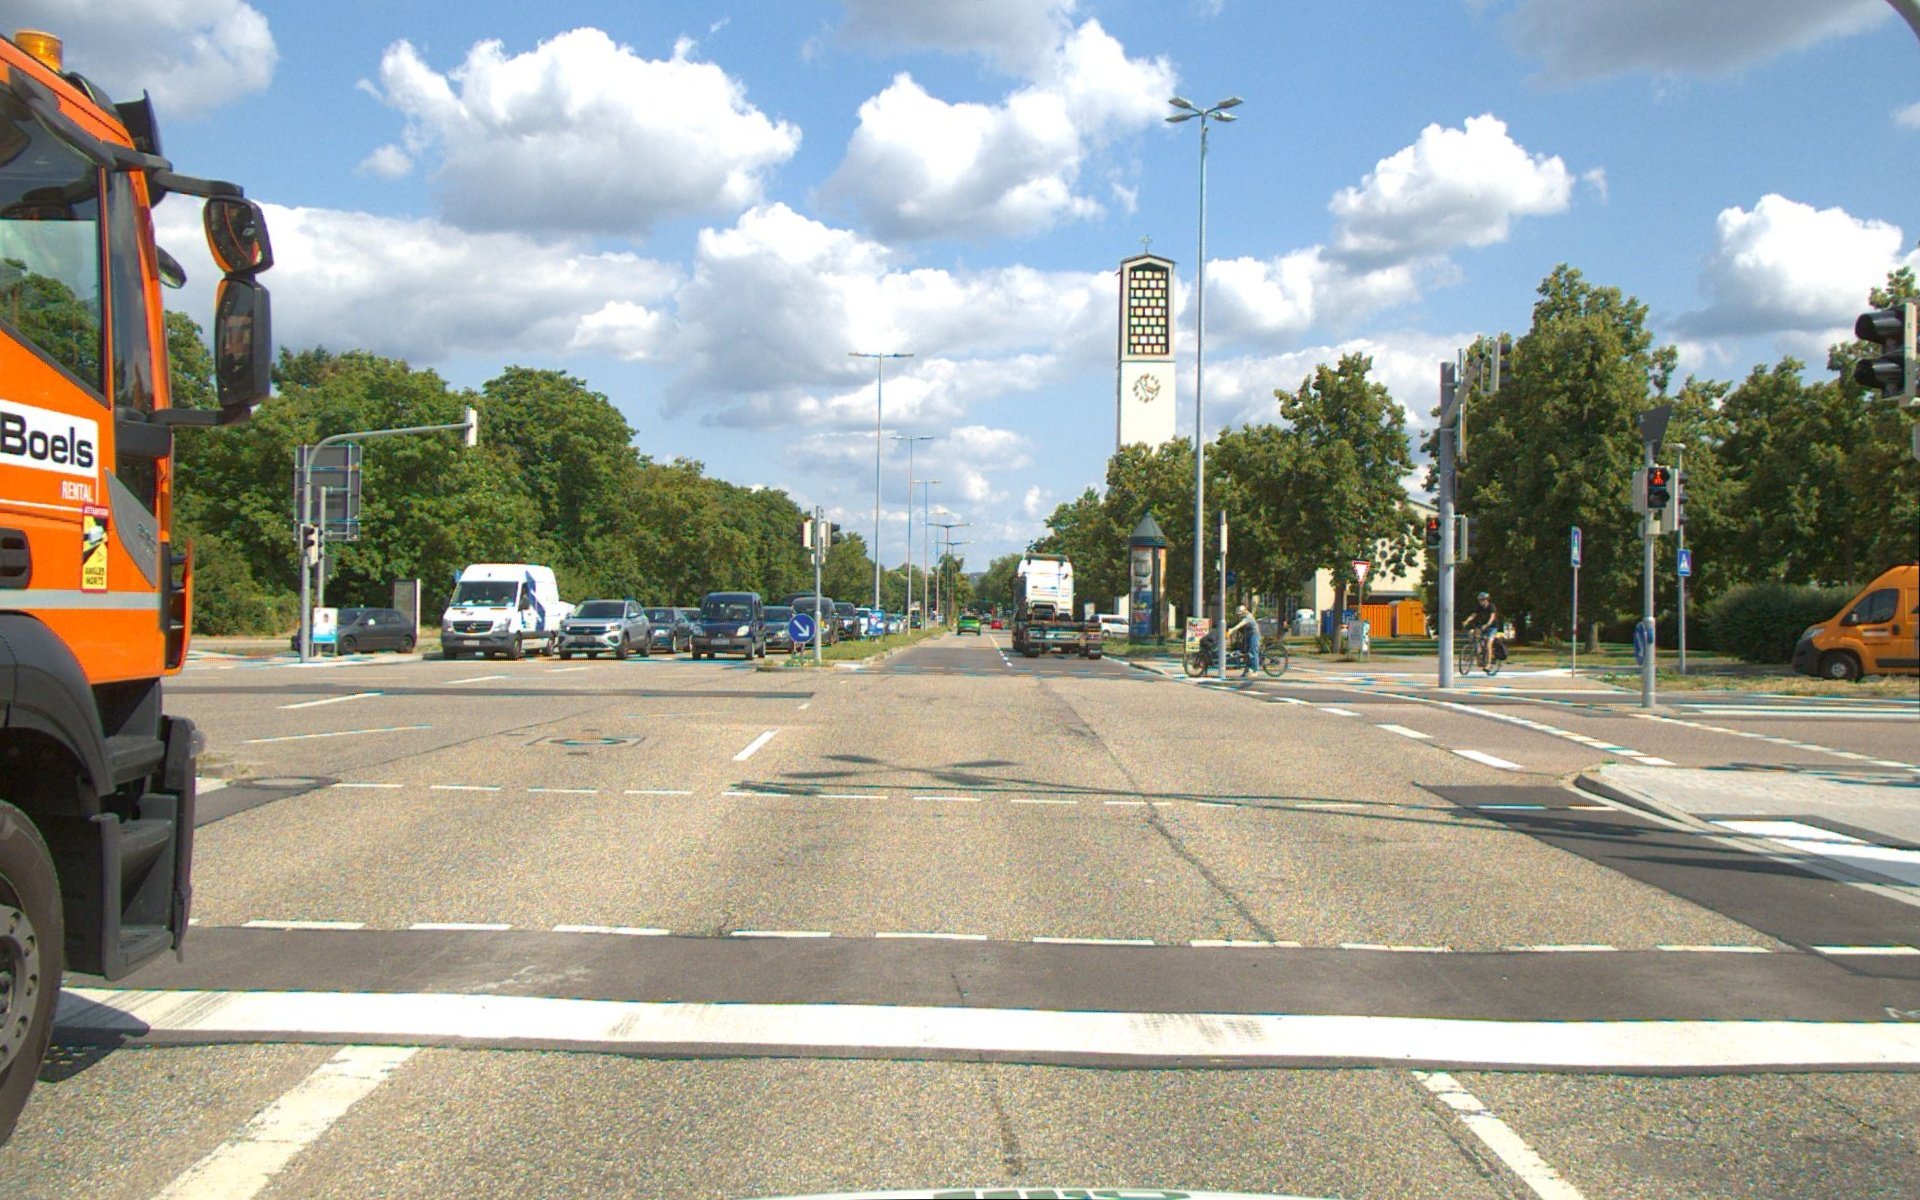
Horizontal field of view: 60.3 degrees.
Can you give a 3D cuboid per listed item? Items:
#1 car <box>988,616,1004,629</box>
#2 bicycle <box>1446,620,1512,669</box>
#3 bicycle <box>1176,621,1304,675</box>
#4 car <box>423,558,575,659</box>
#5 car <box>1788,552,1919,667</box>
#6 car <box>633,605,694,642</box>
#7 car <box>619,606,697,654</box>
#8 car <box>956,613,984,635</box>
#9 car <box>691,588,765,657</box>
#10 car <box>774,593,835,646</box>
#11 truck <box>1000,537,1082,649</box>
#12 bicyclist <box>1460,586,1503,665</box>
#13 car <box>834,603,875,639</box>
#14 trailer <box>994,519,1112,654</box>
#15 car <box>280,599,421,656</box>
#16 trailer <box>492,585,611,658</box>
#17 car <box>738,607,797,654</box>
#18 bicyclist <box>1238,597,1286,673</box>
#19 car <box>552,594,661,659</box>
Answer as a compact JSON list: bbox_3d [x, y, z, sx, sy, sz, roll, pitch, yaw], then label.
[{"bbox_3d":[4.855,3.069,224.794,1.953,1.579,3.999,3,-1,-1],"label":"car"},{"bbox_3d":[12.229,1.030,38.929,0.674,1.113,1.989,0,-1,44],"label":"bicycle"},{"bbox_3d":[6.135,1.046,36.172,2.796,1.131,0.791,1,0,-25],"label":"bicycle"},{"bbox_3d":[-12.656,0.258,45.913,2.128,2.514,5.969,2,-1,3],"label":"car"},{"bbox_3d":[19.787,0.251,33.871,4.762,2.264,2.204,2,-1,36],"label":"car"},{"bbox_3d":[-11.360,0.903,63.532,1.728,1.375,3.518,1,-1,-1],"label":"car"},{"bbox_3d":[-9.159,0.900,50.385,1.728,1.375,3.518,1,-1,-1],"label":"car"},{"bbox_3d":[0.758,1.798,126.034,1.953,1.579,3.999,3,-1,-1],"label":"car"},{"bbox_3d":[-6.143,0.582,44.124,1.701,1.689,4.226,3,-1,-5],"label":"car"},{"bbox_3d":[-5.499,0.664,58.914,1.699,1.689,4.231,3,1,0],"label":"car"},{"bbox_3d":[3.220,-0.173,64.698,2.897,4.040,8.641,1,-1,3],"label":"truck"},{"bbox_3d":[12.315,0.587,39.023,0.674,1.836,0.783,0,-1,44],"label":"bicyclist"},{"bbox_3d":[-5.308,1.068,83.686,1.699,1.689,4.231,2,-1,0],"label":"car"},{"bbox_3d":[3.216,-0.313,56.799,3.544,4.082,11.323,1,-1,3],"label":"trailer"},{"bbox_3d":[-18.240,0.827,49.671,1.951,1.557,4.002,2,-1,15],"label":"car"},{"bbox_3d":[-12.637,0.668,51.491,2.080,2.049,5.163,2,-1,3],"label":"trailer"},{"bbox_3d":[-5.933,0.926,51.303,1.537,1.339,3.430,3,-1,-3],"label":"car"},{"bbox_3d":[6.639,0.759,36.399,0.689,1.644,0.791,1,0,-24],"label":"bicyclist"},{"bbox_3d":[-9.399,0.697,44.304,1.698,1.570,4.310,2,-1,3],"label":"car"}]
